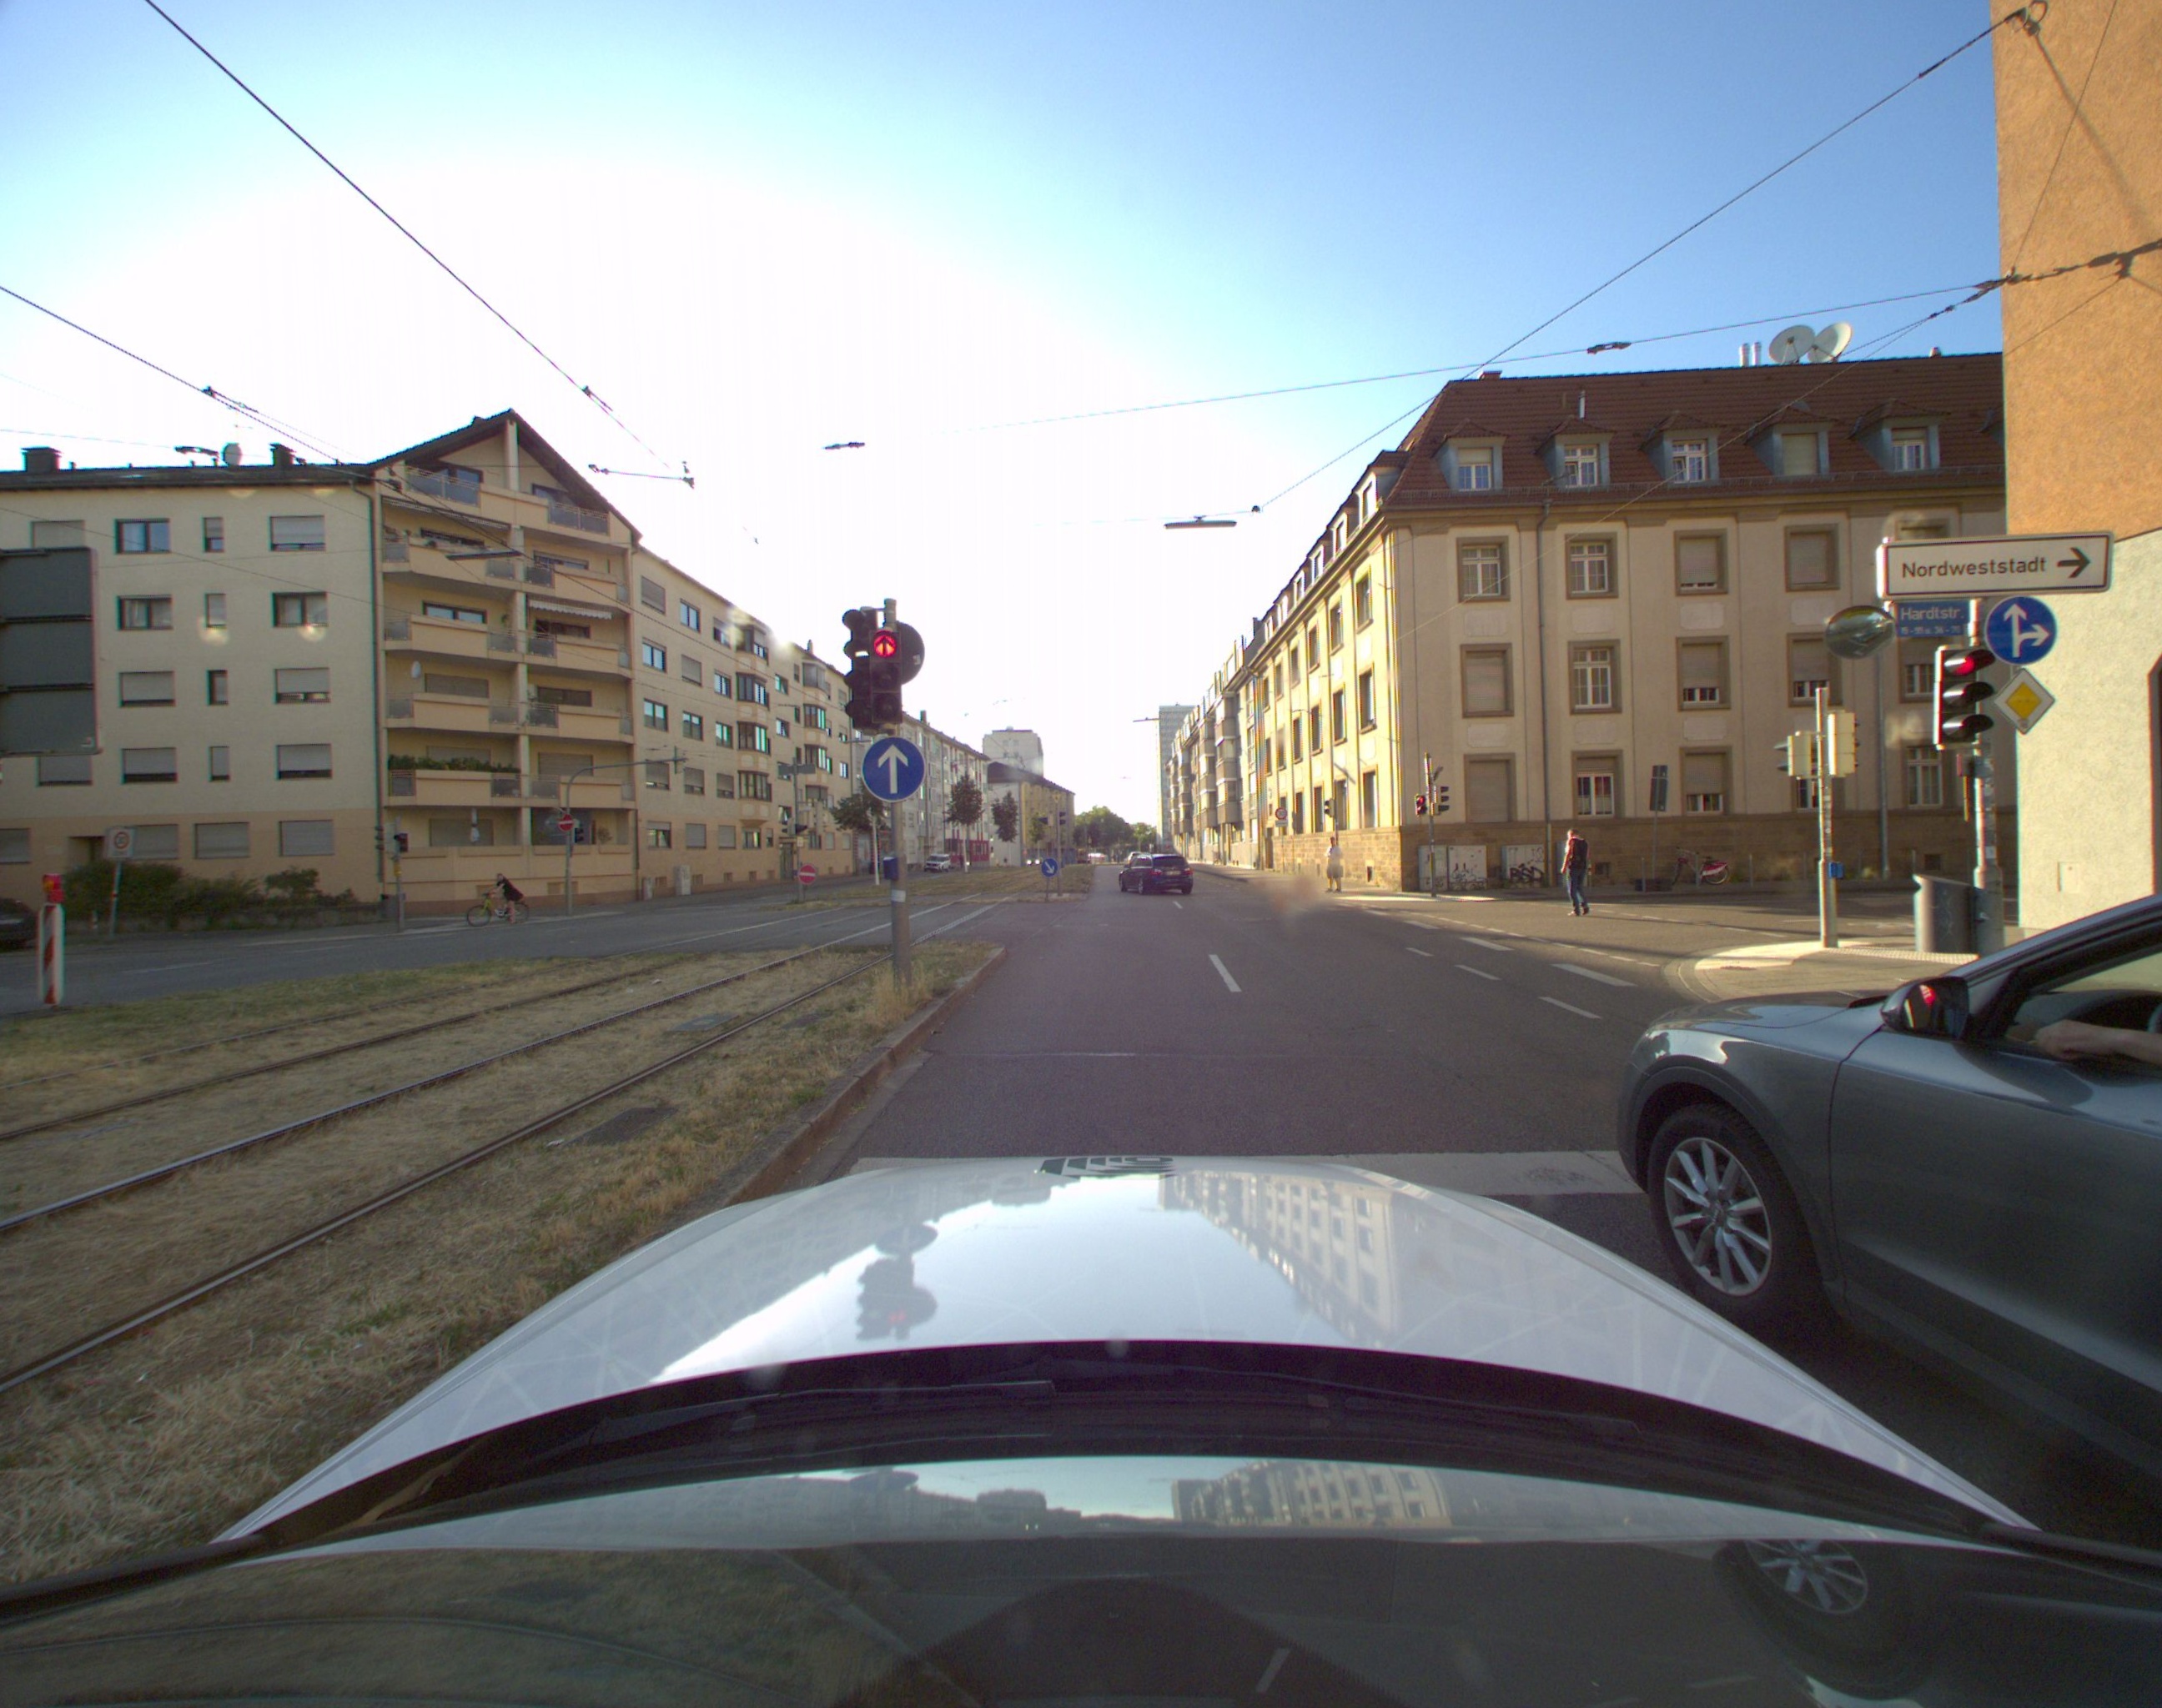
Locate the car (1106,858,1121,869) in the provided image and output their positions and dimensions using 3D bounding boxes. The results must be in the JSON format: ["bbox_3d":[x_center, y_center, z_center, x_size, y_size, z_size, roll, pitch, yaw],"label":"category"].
[{"bbox_3d":[4.589,1.354,114.831,1.986,1.554,4.394,0,-1,1],"label":"car"}]

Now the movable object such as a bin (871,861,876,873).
[{"bbox_3d":[-17.517,1.119,68.845,0.297,1.036,0.442,0,-1,2],"label":"movable object such as a bin"}]

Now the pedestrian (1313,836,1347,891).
[{"bbox_3d":[8.036,0.308,26.296,0.832,1.762,0.824,0,-1,1],"label":"pedestrian"}]

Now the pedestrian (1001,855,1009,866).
[{"bbox_3d":[-11.649,0.954,124.372,0.957,1.670,1.013,-1,-1,7],"label":"pedestrian"}]

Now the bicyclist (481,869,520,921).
[{"bbox_3d":[-18.132,1.262,25.441,0.620,1.586,0.814,-1,0,35],"label":"bicyclist"}]

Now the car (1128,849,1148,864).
[{"bbox_3d":[6.007,0.295,86.473,1.986,1.564,4.002,0,-1,2],"label":"car"}]

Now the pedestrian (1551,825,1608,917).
[{"bbox_3d":[9.866,0.329,16.138,0.627,1.758,0.826,0,-1,1],"label":"pedestrian"}]

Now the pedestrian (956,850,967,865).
[{"bbox_3d":[-14.434,0.420,98.209,1.268,1.761,1.271,0,-1,-8],"label":"pedestrian"}]

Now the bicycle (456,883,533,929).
[{"bbox_3d":[-18.182,1.589,25.287,0.450,1.257,1.883,-1,1,34],"label":"bicycle"}]

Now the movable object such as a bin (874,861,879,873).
[{"bbox_3d":[-17.434,1.111,69.411,0.297,1.036,0.441,0,-1,1],"label":"movable object such as a bin"}]

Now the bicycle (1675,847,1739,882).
[{"bbox_3d":[18.457,0.326,24.013,1.491,1.018,0.251,-1,-1,17],"label":"bicycle"}]

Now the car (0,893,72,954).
[{"bbox_3d":[-30.117,1.923,21.511,3.983,1.442,1.996,-2,2,-7],"label":"car"}]

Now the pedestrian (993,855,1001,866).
[{"bbox_3d":[-12.759,0.962,123.696,0.957,1.694,1.013,-1,-1,7],"label":"pedestrian"}]

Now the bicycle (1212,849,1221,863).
[{"bbox_3d":[10.260,0.157,61.894,0.382,1.096,1.503,-2,-1,0],"label":"bicycle"}]

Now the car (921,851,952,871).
[{"bbox_3d":[-14.516,0.713,82.086,1.984,1.925,4.548,-1,-1,5],"label":"car"}]

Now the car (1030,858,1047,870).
[{"bbox_3d":[-6.618,1.568,127.976,1.888,1.633,4.754,-2,0,5],"label":"car"}]

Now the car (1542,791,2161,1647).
[{"bbox_3d":[2.809,0.666,1.459,1.691,1.552,4.227,0,0,2],"label":"car"}]

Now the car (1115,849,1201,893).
[{"bbox_3d":[2.682,0.589,29.399,1.927,1.456,4.310,0,-1,-11],"label":"car"}]
